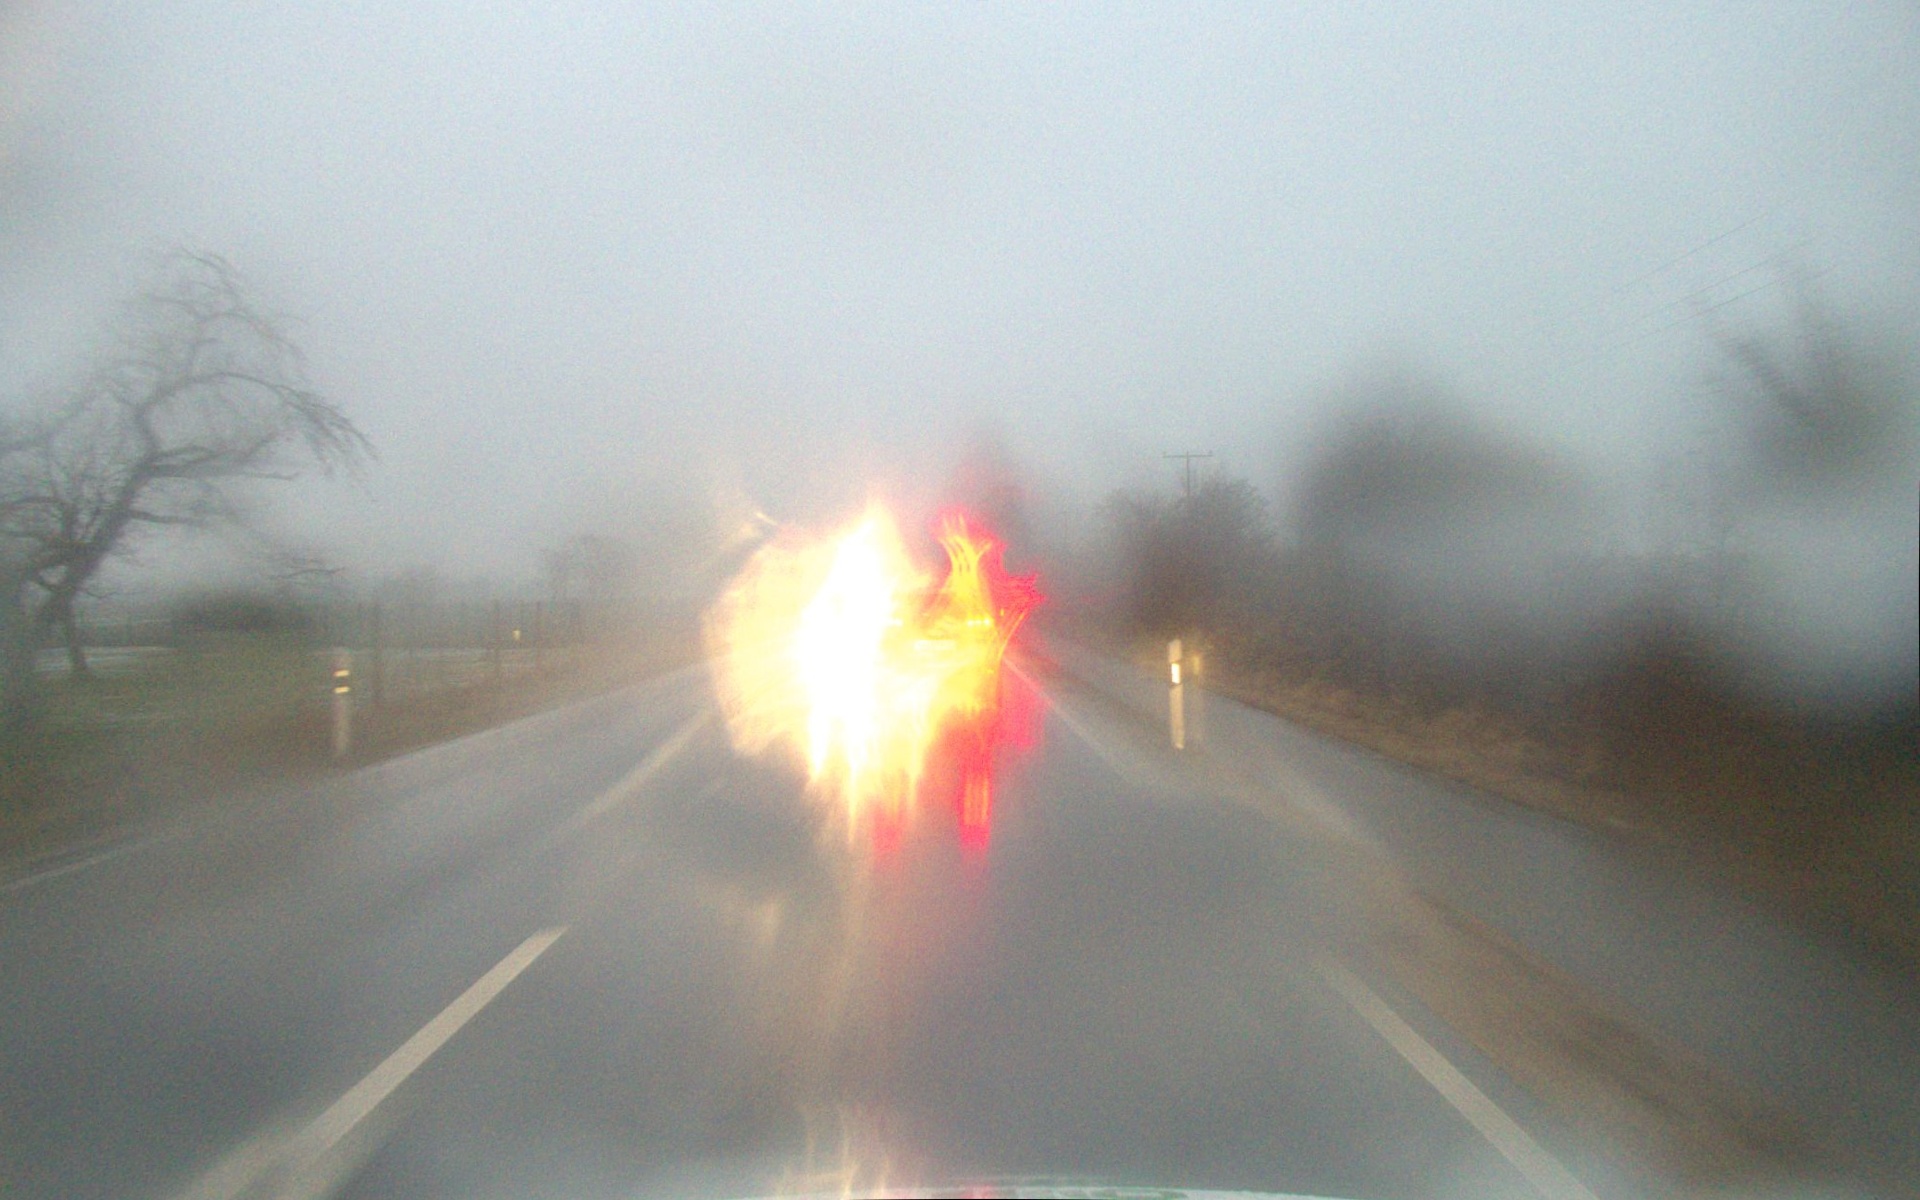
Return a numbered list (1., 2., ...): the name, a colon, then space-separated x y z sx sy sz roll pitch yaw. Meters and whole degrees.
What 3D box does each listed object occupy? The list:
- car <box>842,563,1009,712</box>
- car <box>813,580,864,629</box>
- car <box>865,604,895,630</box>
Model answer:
1. car: -0.456 0.444 23.019 2.077 1.851 4.979 0 0 -1
2. car: -4.782 0.148 65.693 1.787 1.838 4.493 -2 0 -2
3. car: -4.859 1.021 101.341 1.654 1.505 3.773 -1 0 -1
